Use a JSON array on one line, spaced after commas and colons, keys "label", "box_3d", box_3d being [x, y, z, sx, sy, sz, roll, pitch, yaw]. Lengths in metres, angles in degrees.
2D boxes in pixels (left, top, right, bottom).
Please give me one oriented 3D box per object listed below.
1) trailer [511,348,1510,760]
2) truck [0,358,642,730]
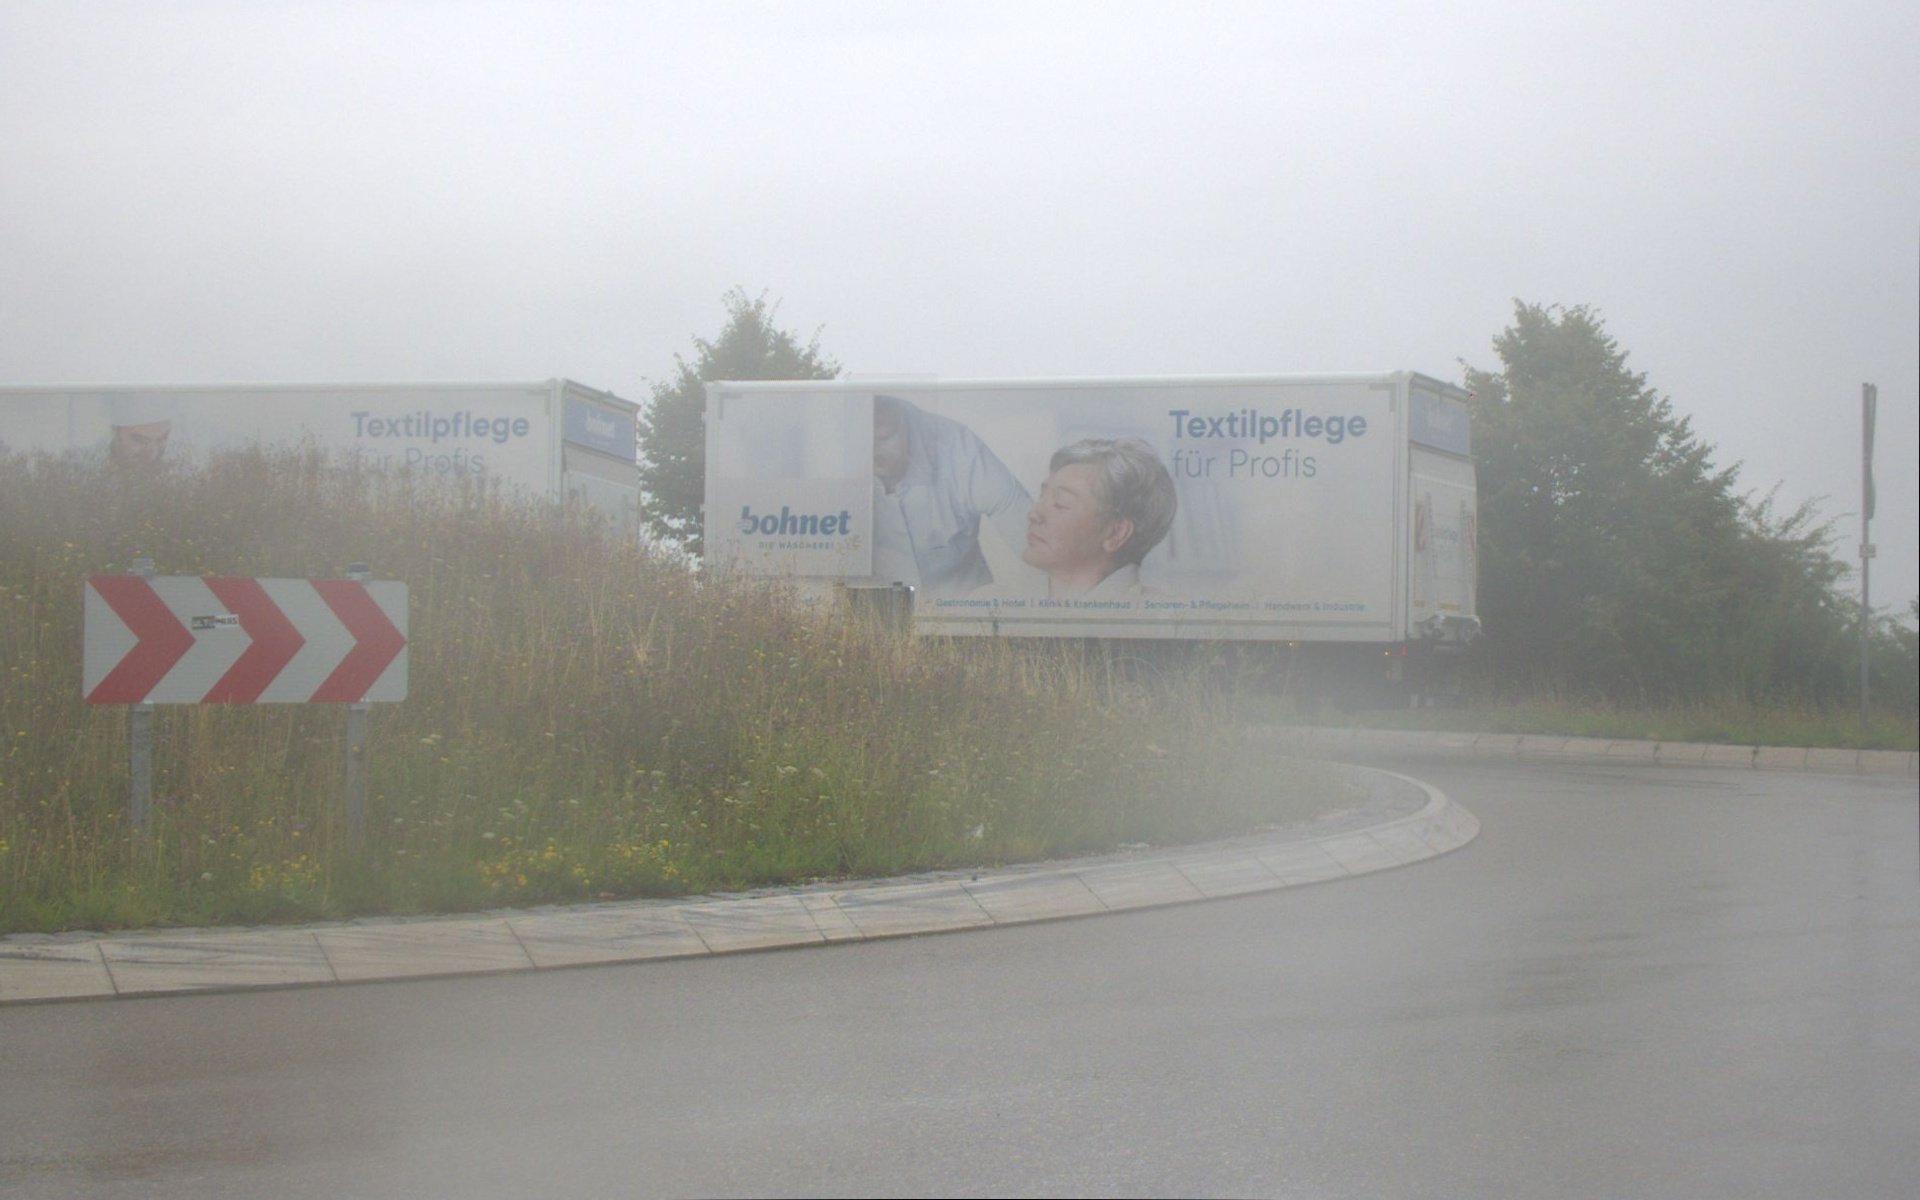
[{"label": "trailer", "box_3d": [0.453, -0.454, 34.815, 9.693, 3.806, 2.838, 1, -1, 21]}, {"label": "truck", "box_3d": [-7.587, -0.599, 37.407, 7.669, 3.806, 2.807, 1, -1, 14]}]
